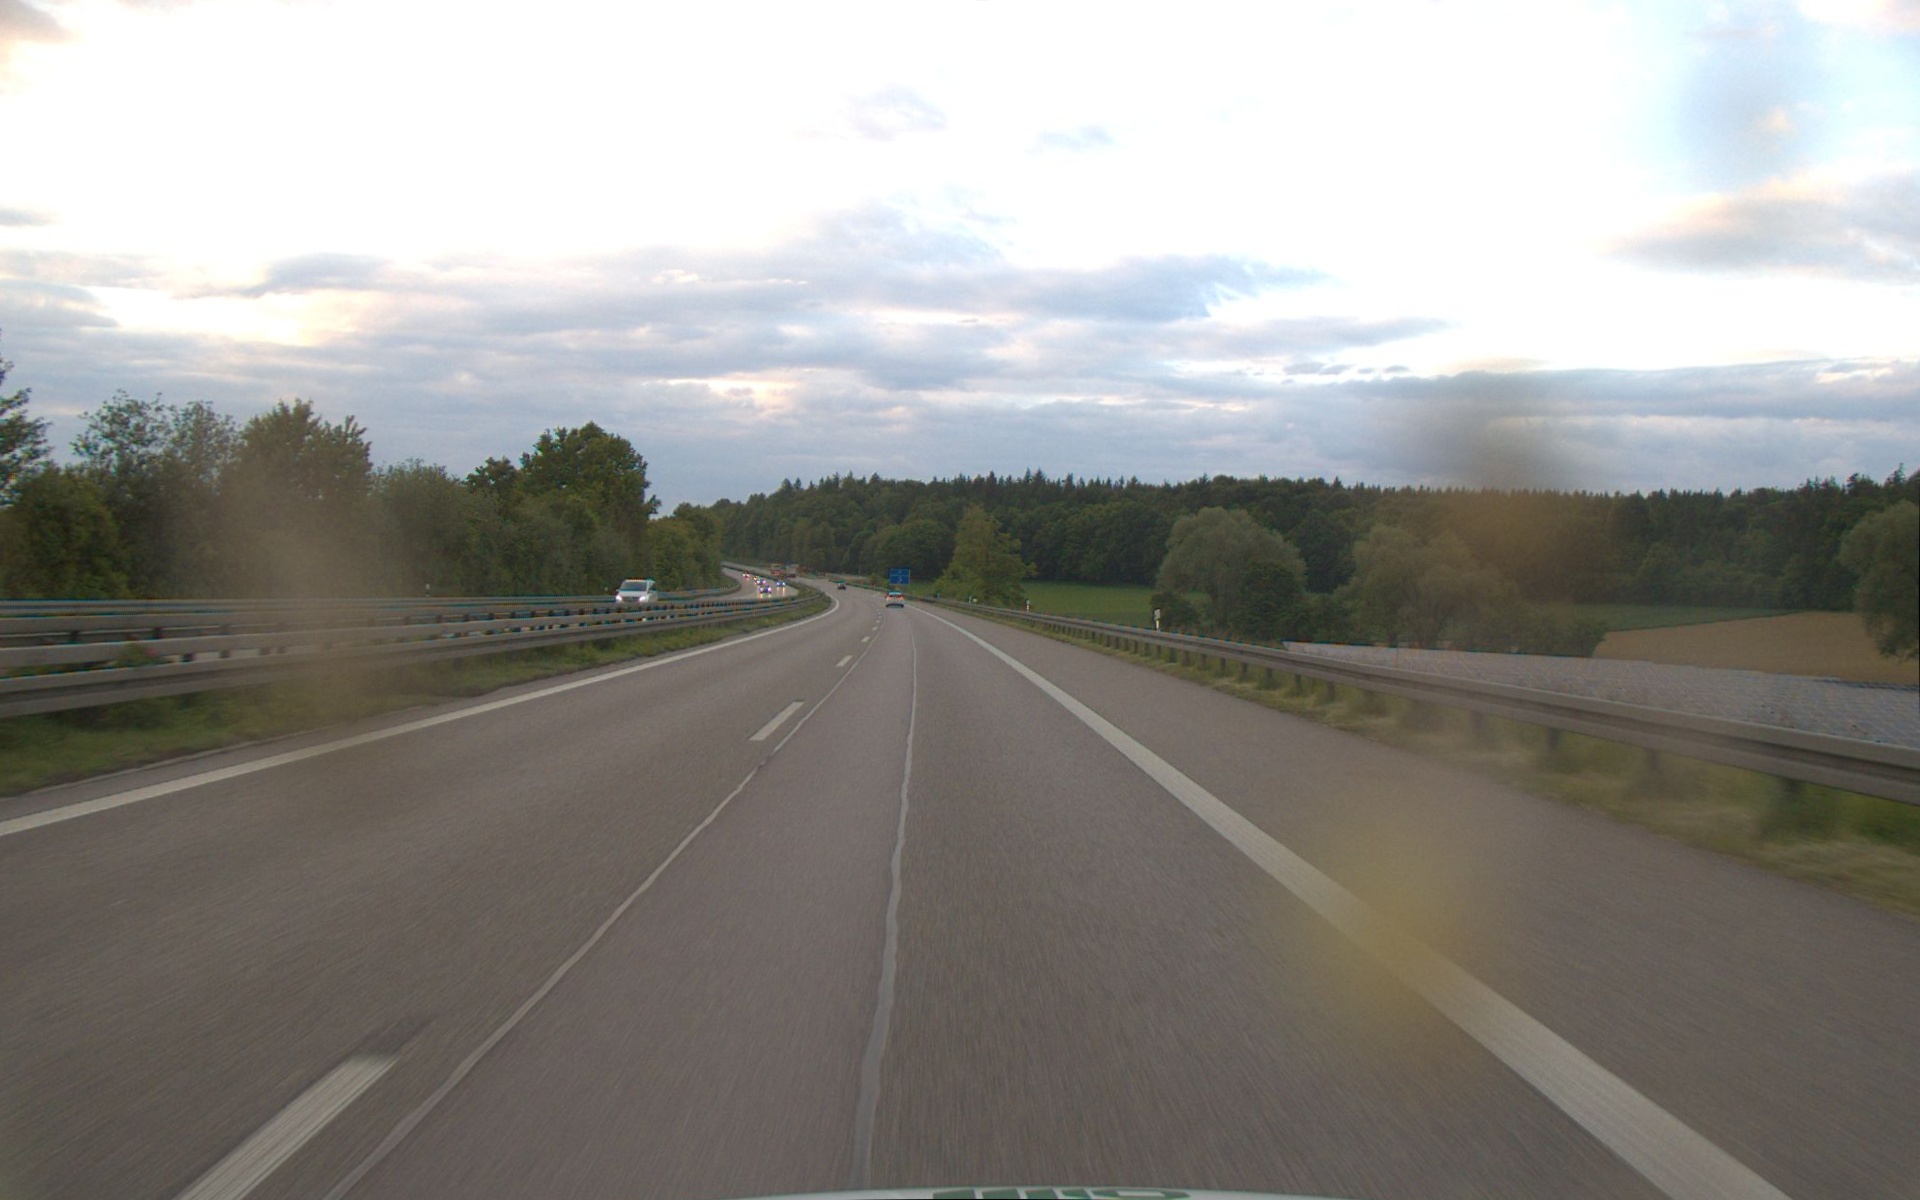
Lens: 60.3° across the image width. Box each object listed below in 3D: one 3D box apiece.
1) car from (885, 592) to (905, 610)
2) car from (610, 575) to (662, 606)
[{"bbox_3d":[-6.521,0.080,166.340,1.913,1.558,4.079,4,1,-2],"label":"car"},{"bbox_3d":[-19.290,-0.606,98.670,1.953,1.655,5.735,4,1,-1],"label":"car"}]
